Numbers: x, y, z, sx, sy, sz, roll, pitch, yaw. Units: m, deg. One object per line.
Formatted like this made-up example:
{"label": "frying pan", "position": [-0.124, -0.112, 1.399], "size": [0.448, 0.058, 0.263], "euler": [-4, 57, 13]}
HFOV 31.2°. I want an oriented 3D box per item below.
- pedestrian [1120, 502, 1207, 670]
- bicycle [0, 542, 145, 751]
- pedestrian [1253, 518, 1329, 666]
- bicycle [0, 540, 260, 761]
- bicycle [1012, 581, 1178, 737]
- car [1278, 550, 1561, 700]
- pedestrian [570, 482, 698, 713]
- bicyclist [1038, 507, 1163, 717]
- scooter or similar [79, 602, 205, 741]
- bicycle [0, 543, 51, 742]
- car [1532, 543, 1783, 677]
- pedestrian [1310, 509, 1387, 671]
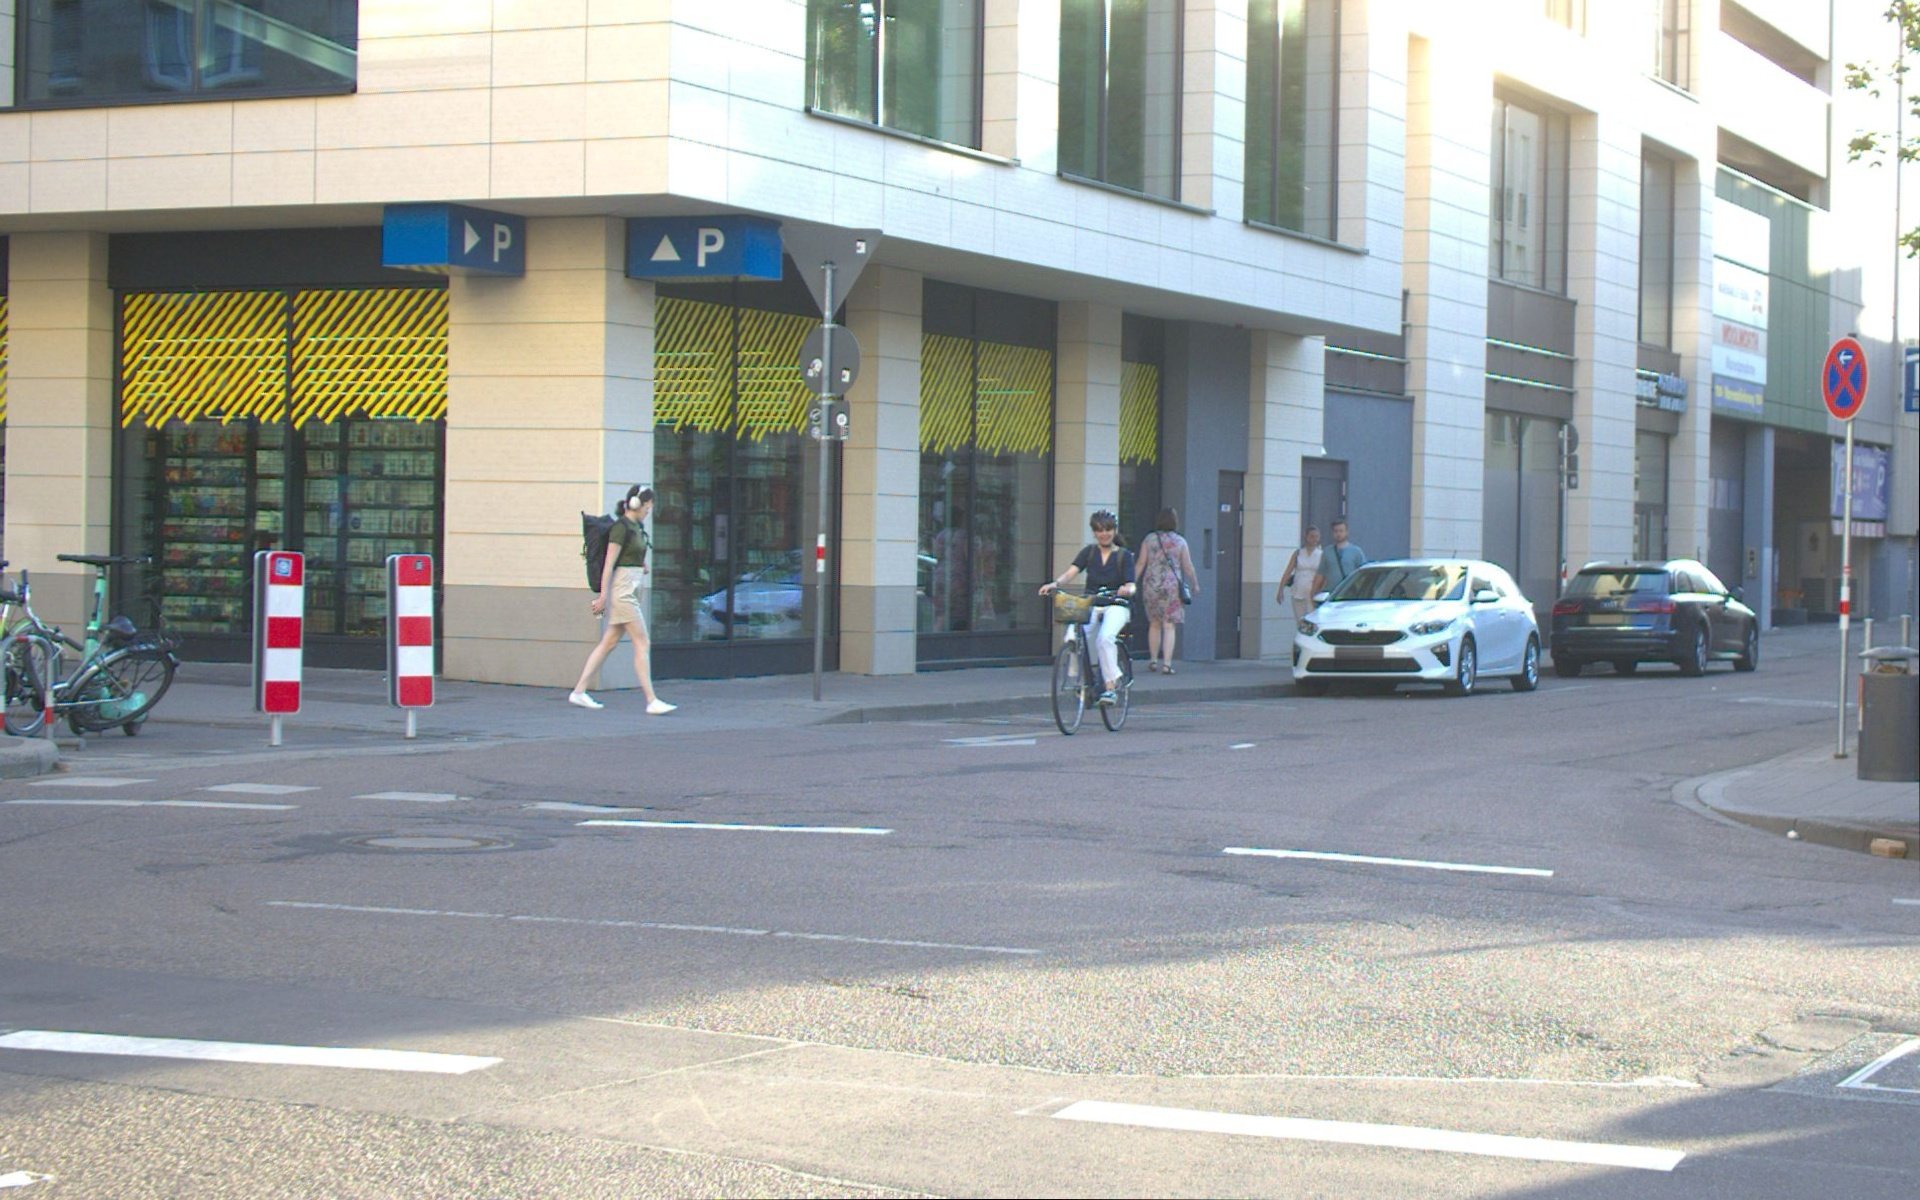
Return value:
{"label": "pedestrian", "position": [2.140, -0.148, 36.122], "size": [0.673, 1.738, 0.646], "euler": [1, 1, 26]}
{"label": "bicycle", "position": [-5.852, 0.271, 21.030], "size": [0.581, 1.250, 2.042], "euler": [2, 0, 22]}
{"label": "pedestrian", "position": [3.818, -0.098, 39.620], "size": [0.673, 1.669, 0.646], "euler": [2, 1, 23]}
{"label": "bicycle", "position": [-5.129, 0.288, 20.768], "size": [0.664, 1.250, 2.138], "euler": [2, 0, 22]}
{"label": "bicycle", "position": [1.054, 0.442, 26.355], "size": [0.664, 1.134, 1.820], "euler": [2, 0, 22]}
{"label": "car", "position": [4.901, 0.230, 36.190], "size": [1.780, 1.448, 4.225], "euler": [2, 1, 24]}
{"label": "pedestrian", "position": [-2.470, -0.025, 26.009], "size": [0.635, 1.717, 0.845], "euler": [1, 1, -30]}
{"label": "bicyclist", "position": [1.082, 0.090, 26.363], "size": [0.659, 1.565, 0.862], "euler": [2, 0, 22]}
{"label": "scooter or similar", "position": [-5.318, 0.459, 22.368], "size": [0.387, 0.881, 0.769], "euler": [2, 0, 24]}
{"label": "bicycle", "position": [-6.457, 0.259, 21.240], "size": [0.512, 1.250, 1.976], "euler": [2, 0, 22]}
{"label": "car", "position": [9.037, 0.104, 44.255], "size": [1.886, 1.592, 4.682], "euler": [2, 1, 28]}
{"label": "pedestrian", "position": [4.444, -0.120, 39.337], "size": [0.673, 1.830, 0.646], "euler": [2, 1, 23]}
